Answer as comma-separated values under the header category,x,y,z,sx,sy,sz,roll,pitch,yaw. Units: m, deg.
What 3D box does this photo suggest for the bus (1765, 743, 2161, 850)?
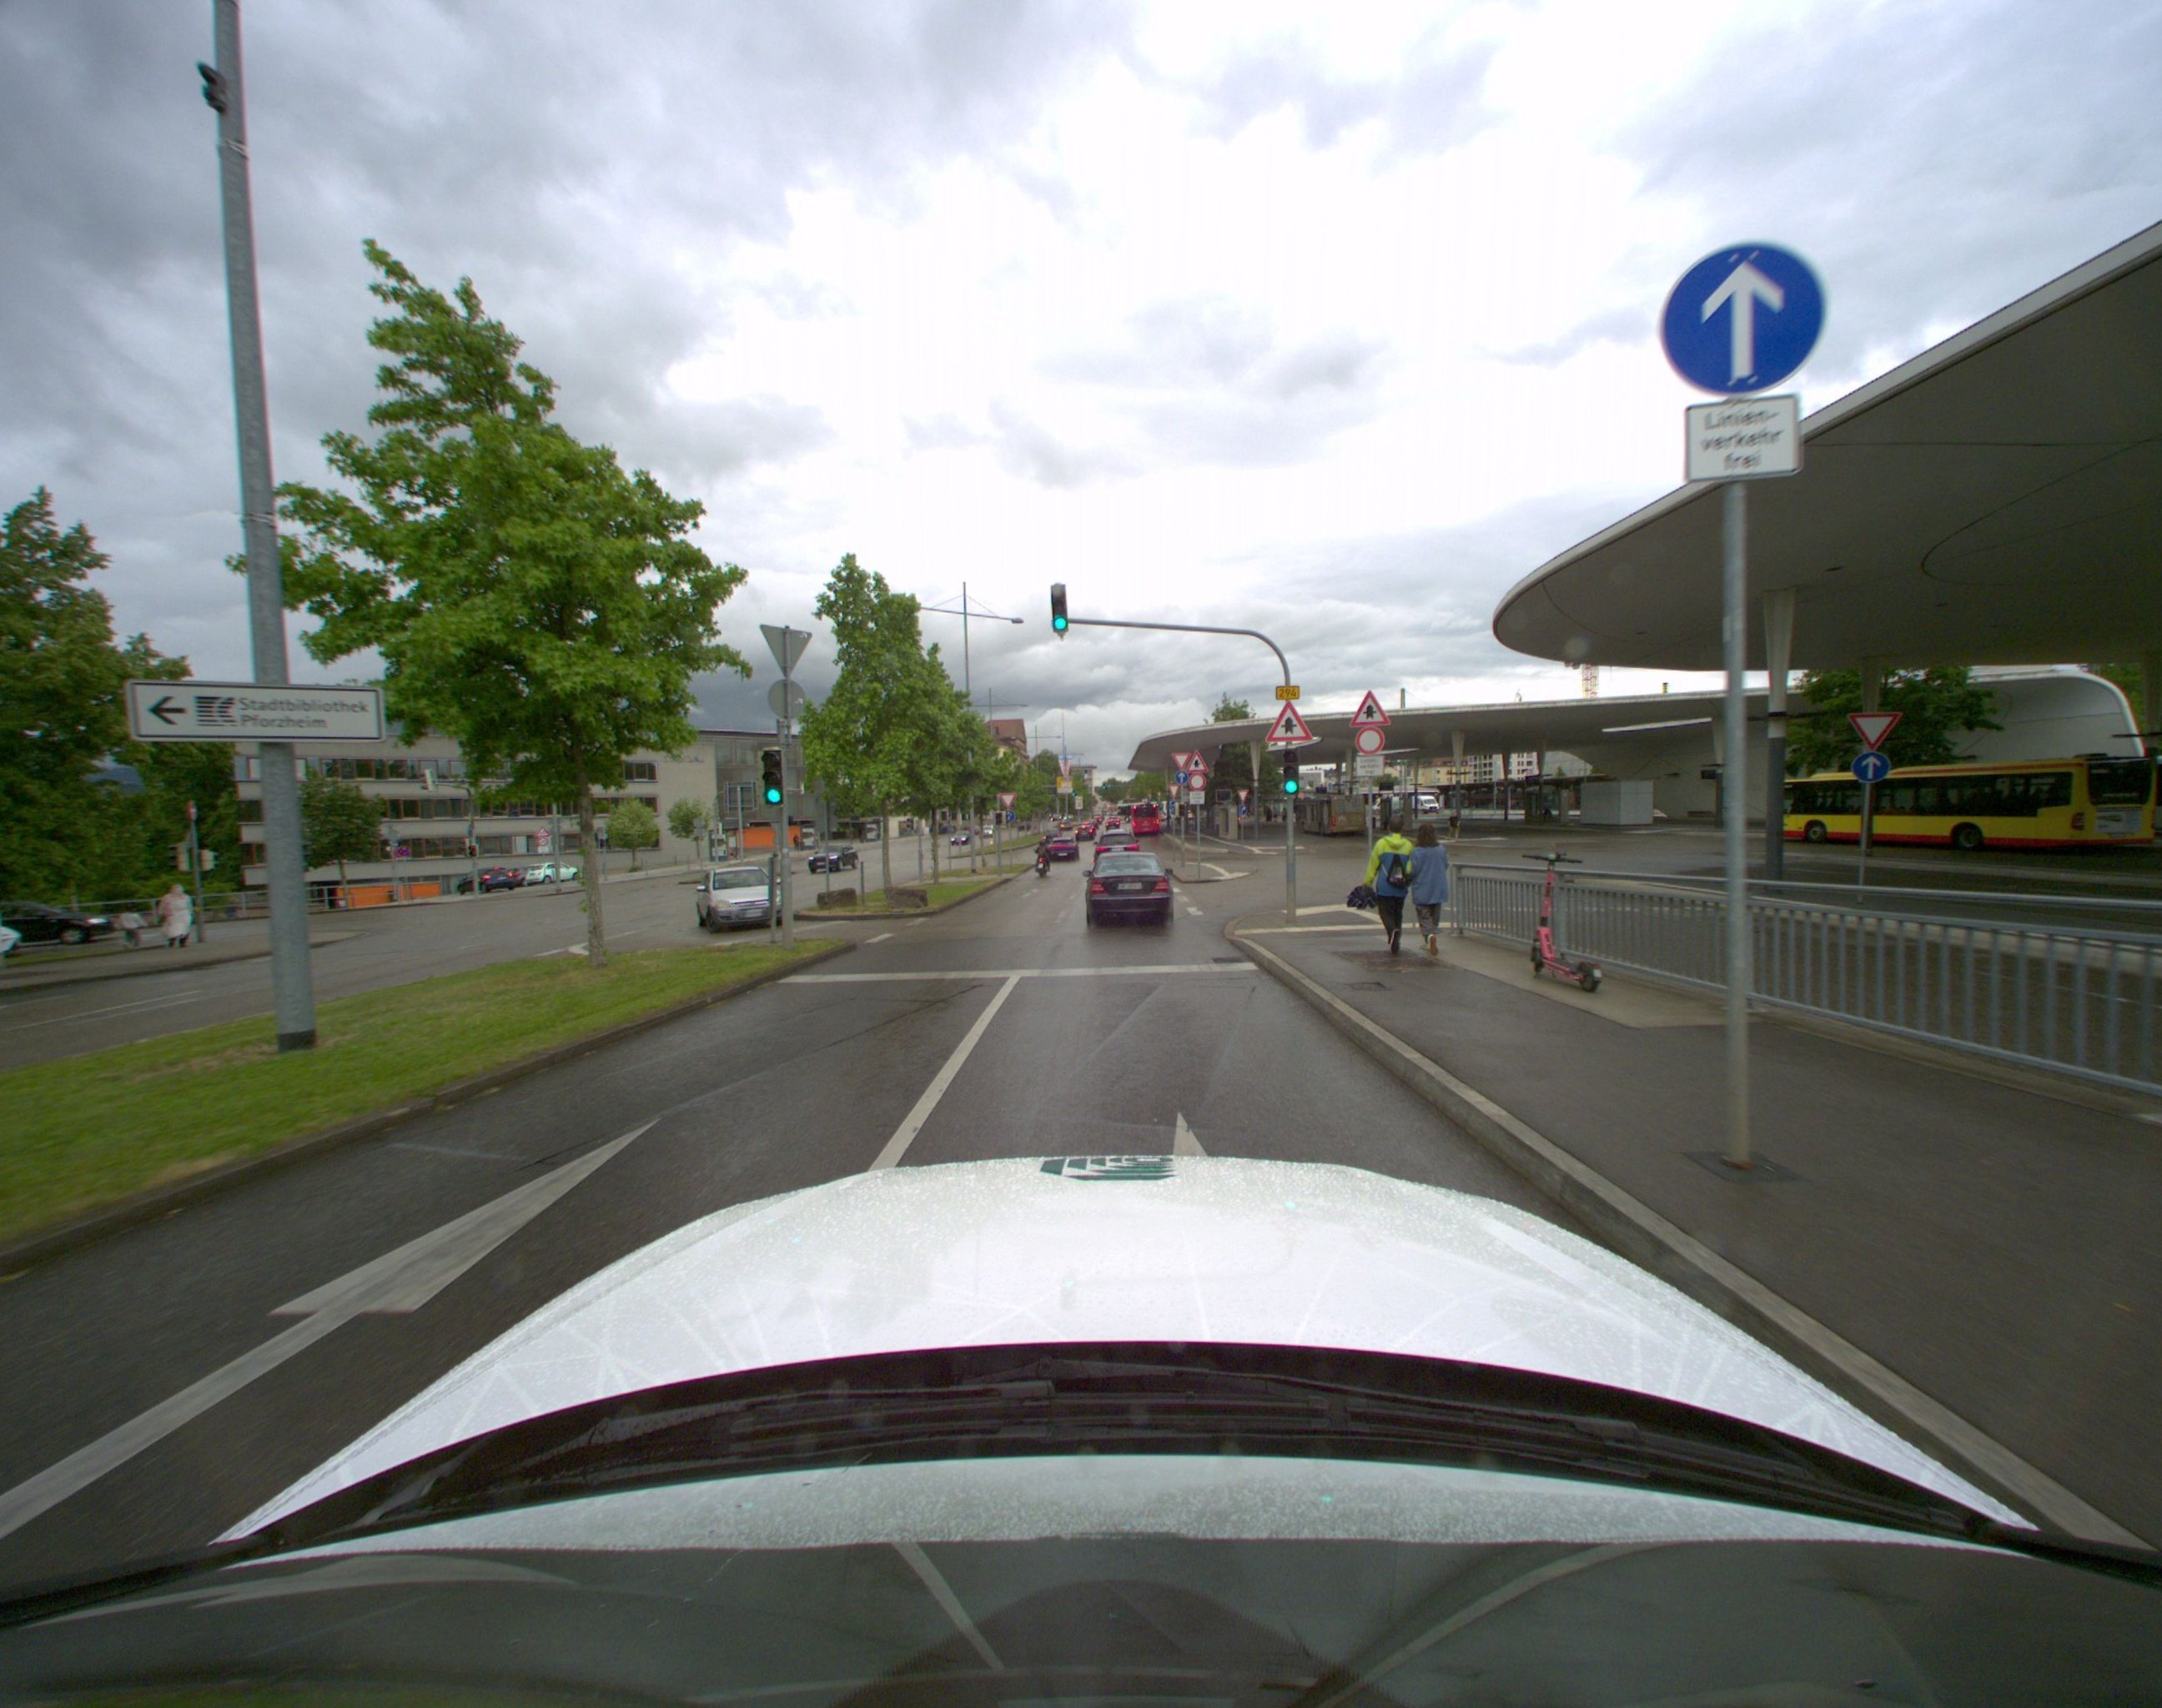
category,x,y,z,sx,sy,sz,roll,pitch,yaw
bus,33.121,-2.153,31.781,2.779,3.256,12.145,-2,3,0

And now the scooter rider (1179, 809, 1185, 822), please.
category,x,y,z,sx,sy,sz,roll,pitch,yaw
scooter rider,12.455,-4.769,100.519,0.587,1.489,0.768,-2,2,16

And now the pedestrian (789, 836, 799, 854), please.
category,x,y,z,sx,sy,sz,roll,pitch,yaw
pedestrian,-28.315,-0.888,80.411,0.471,1.683,0.765,-3,3,9

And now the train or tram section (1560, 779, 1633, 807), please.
category,x,y,z,sx,sy,sz,roll,pitch,yaw
train or tram section,72.615,-8.511,115.160,3.120,3.677,11.623,1,3,1

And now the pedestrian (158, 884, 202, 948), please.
category,x,y,z,sx,sy,sz,roll,pitch,yaw
pedestrian,-23.242,1.586,21.002,0.623,1.570,0.658,-4,0,40

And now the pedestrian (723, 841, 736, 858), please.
category,x,y,z,sx,sy,sz,roll,pitch,yaw
pedestrian,-29.222,-0.369,67.795,0.676,1.392,0.721,-3,2,0

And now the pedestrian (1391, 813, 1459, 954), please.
category,x,y,z,sx,sy,sz,roll,pitch,yaw
pedestrian,4.211,0.355,9.999,0.587,1.670,0.580,0,-2,1

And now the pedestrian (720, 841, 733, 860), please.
category,x,y,z,sx,sy,sz,roll,pitch,yaw
pedestrian,-29.190,-0.293,67.014,0.676,1.468,0.626,-3,2,0

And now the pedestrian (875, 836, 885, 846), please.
category,x,y,z,sx,sy,sz,roll,pitch,yaw
pedestrian,-26.359,-1.696,106.684,0.967,1.267,0.854,2,4,22

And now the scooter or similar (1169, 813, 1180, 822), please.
category,x,y,z,sx,sy,sz,roll,pitch,yaw
scooter or similar,11.605,-4.505,100.777,1.233,1.012,0.767,-2,2,16

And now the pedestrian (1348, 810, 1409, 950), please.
category,x,y,z,sx,sy,sz,roll,pitch,yaw
pedestrian,3.668,0.315,10.082,0.520,1.670,0.581,-1,0,1

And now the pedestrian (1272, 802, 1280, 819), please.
category,x,y,z,sx,sy,sz,roll,pitch,yaw
pedestrian,23.232,-5.203,97.188,0.716,2.014,0.674,1,-1,28

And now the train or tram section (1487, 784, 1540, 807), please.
category,x,y,z,sx,sy,sz,roll,pitch,yaw
train or tram section,73.314,-9.901,138.372,3.120,3.658,11.624,1,3,1

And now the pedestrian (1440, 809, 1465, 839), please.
category,x,y,z,sx,sy,sz,roll,pitch,yaw
pedestrian,21.866,-1.776,47.917,0.721,1.683,1.013,-5,3,-24

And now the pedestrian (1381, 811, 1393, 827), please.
category,x,y,z,sx,sy,sz,roll,pitch,yaw
pedestrian,24.149,-2.785,64.292,0.786,1.226,0.637,-2,3,19

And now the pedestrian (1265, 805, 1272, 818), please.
category,x,y,z,sx,sy,sz,roll,pitch,yaw
pedestrian,23.117,-5.189,100.434,0.574,1.578,0.565,1,-1,31

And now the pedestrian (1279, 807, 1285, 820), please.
category,x,y,z,sx,sy,sz,roll,pitch,yaw
pedestrian,24.924,-5.069,100.847,0.573,1.578,0.565,1,-1,37

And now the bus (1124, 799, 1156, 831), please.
category,x,y,z,sx,sy,sz,roll,pitch,yaw
bus,6.568,-4.469,92.089,3.277,3.288,8.859,-3,3,3

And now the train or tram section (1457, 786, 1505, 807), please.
category,x,y,z,sx,sy,sz,roll,pitch,yaw
train or tram section,73.642,-10.556,150.309,3.120,3.658,12.332,1,3,1

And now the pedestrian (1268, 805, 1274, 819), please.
category,x,y,z,sx,sy,sz,roll,pitch,yaw
pedestrian,23.641,-5.235,101.299,0.573,1.716,0.565,1,-1,37

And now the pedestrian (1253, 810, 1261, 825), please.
category,x,y,z,sx,sy,sz,roll,pitch,yaw
pedestrian,18.760,-3.907,86.736,0.597,1.581,0.710,-2,1,-7

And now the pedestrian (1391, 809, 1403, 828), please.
category,x,y,z,sx,sy,sz,roll,pitch,yaw
pedestrian,24.120,-2.690,62.136,0.786,1.377,0.637,-2,3,19

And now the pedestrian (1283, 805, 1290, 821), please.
category,x,y,z,sx,sy,sz,roll,pitch,yaw
pedestrian,22.394,-4.464,88.634,0.559,1.691,0.613,-2,3,-5

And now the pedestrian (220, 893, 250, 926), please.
category,x,y,z,sx,sy,sz,roll,pitch,yaw
pedestrian,-42.523,2.770,40.950,0.669,1.582,0.705,-2,2,0

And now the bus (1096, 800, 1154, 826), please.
category,x,y,z,sx,sy,sz,roll,pitch,yaw
bus,7.370,-6.897,139.159,2.861,3.986,11.731,-5,3,-37

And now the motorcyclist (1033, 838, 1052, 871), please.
category,x,y,z,sx,sy,sz,roll,pitch,yaw
motorcyclist,-1.638,0.003,34.870,0.638,1.347,0.690,-3,3,5

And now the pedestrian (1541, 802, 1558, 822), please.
category,x,y,z,sx,sy,sz,roll,pitch,yaw
pedestrian,36.814,-3.318,64.041,0.793,1.585,0.907,-1,2,-4

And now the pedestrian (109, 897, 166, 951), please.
category,x,y,z,sx,sy,sz,roll,pitch,yaw
pedestrian,-24.469,1.794,21.136,0.652,1.292,0.628,-4,0,-11

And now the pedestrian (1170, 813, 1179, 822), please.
category,x,y,z,sx,sy,sz,roll,pitch,yaw
pedestrian,11.563,-4.514,100.596,0.906,0.985,0.636,-1,-1,16

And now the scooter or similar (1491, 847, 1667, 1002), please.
category,x,y,z,sx,sy,sz,roll,pitch,yaw
scooter or similar,4.450,0.570,7.442,0.462,1.221,1.860,-3,0,2

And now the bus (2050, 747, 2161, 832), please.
category,x,y,z,sx,sy,sz,roll,pitch,yaw
bus,43.061,-2.417,29.315,2.456,3.256,11.981,-3,4,2
